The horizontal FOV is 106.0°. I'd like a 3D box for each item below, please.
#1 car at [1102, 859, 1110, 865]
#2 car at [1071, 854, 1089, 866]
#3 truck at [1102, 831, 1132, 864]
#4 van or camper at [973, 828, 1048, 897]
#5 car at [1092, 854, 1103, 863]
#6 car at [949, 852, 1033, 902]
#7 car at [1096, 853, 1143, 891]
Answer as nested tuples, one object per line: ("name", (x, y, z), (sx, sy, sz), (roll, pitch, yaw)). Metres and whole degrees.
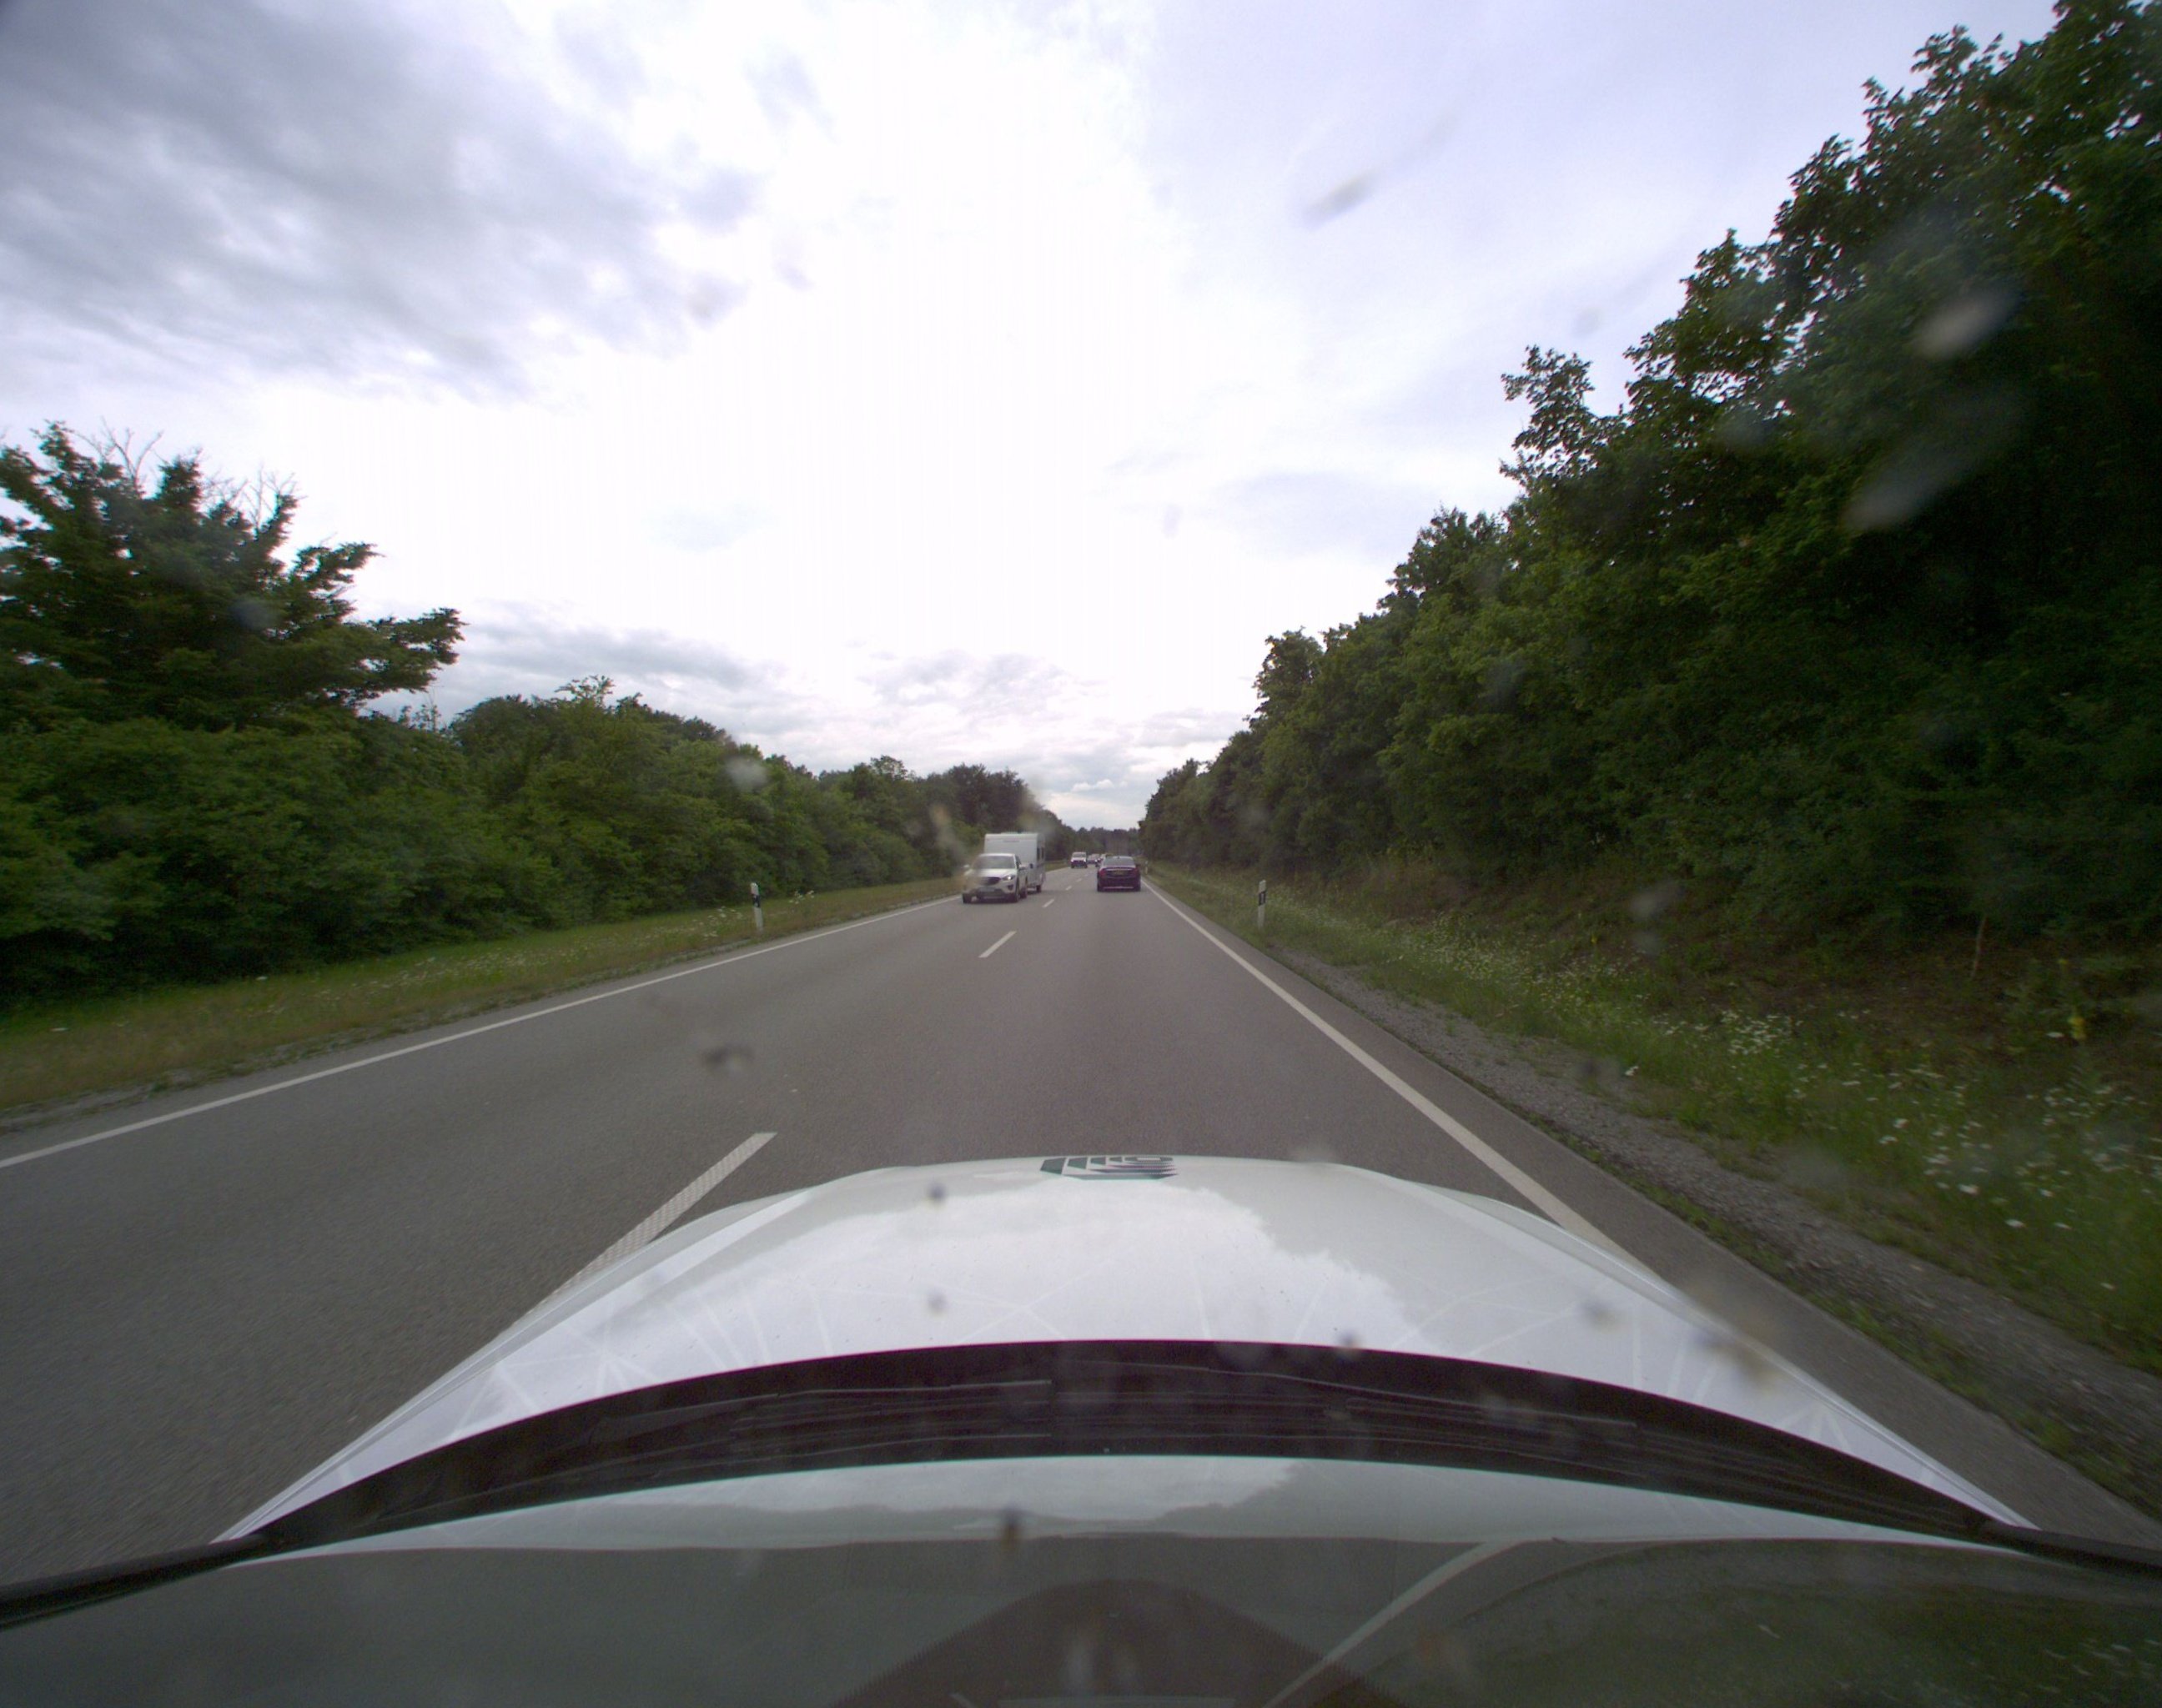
("car", (6.363, 1.967, 204.707), (1.867, 1.559, 3.757), (0, 0, 2))
("car", (-0.117, 0.742, 99.826), (1.986, 1.420, 4.001), (0, 0, 2))
("truck", (4.345, -0.700, 95.664), (3.267, 3.611, 11.409), (0, 0, 3))
("van or camper", (-2.794, 0.333, 33.914), (2.371, 2.575, 6.281), (0, 0, 2))
("car", (2.672, 0.712, 134.001), (1.681, 1.479, 4.458), (0, 0, 2))
("car", (-3.016, 0.744, 28.373), (2.270, 1.603, 4.693), (0, 0, 2))
("car", (1.617, 0.736, 35.035), (1.786, 1.552, 3.998), (0, 0, -1))
